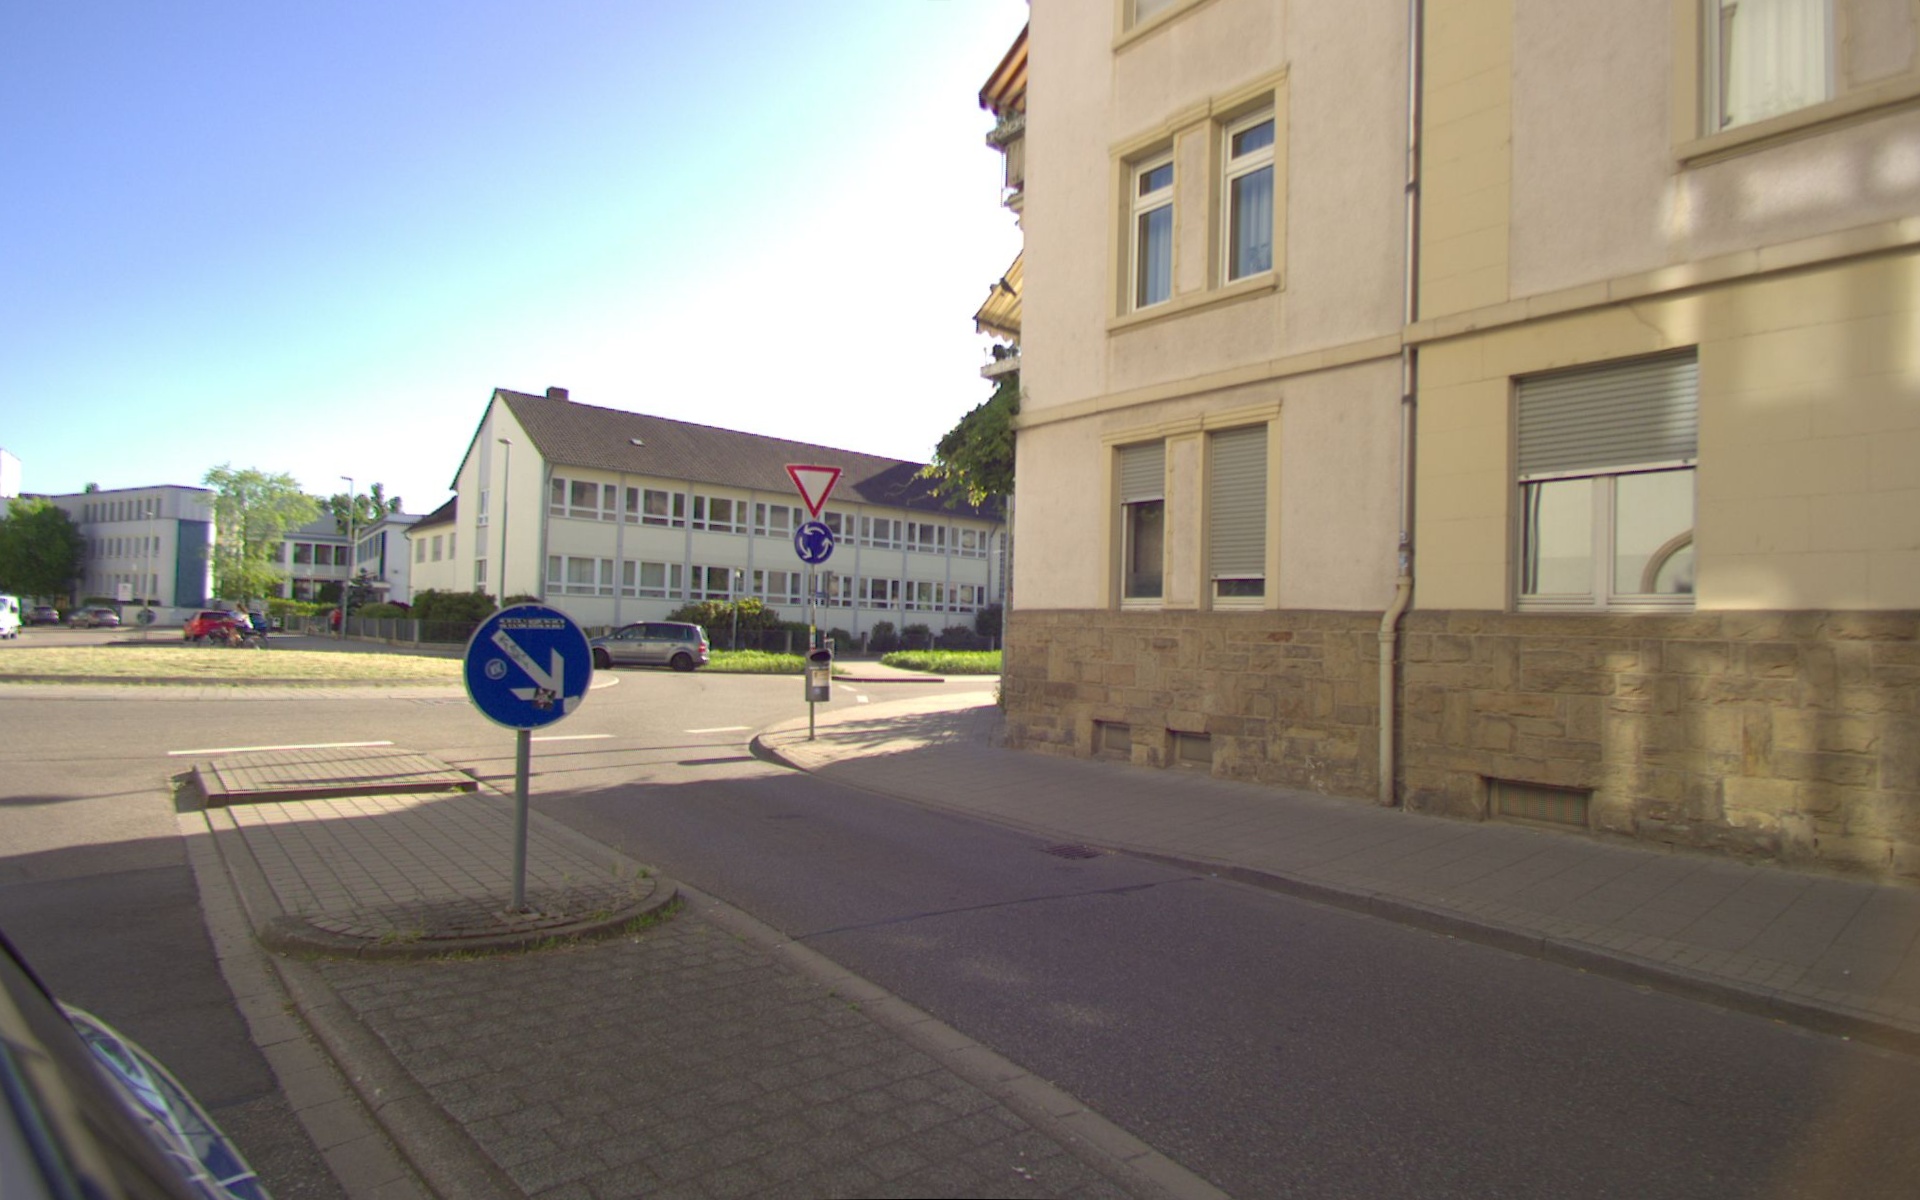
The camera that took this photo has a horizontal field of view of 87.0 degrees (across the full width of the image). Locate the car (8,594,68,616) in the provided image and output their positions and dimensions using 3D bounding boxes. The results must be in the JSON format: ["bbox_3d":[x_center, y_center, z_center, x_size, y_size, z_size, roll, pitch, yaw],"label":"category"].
[{"bbox_3d":[-72.280,0.369,79.308,4.815,1.625,2.118,0,1,29],"label":"car"}]

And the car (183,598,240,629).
[{"bbox_3d":[-35.383,0.649,47.802,1.691,1.393,4.004,4,-3,-42],"label":"car"}]

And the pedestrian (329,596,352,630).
[{"bbox_3d":[-31.179,0.654,50.932,0.807,1.718,0.998,1,0,-43],"label":"pedestrian"}]

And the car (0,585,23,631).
[{"bbox_3d":[-44.462,0.313,46.196,1.968,2.029,4.806,6,-4,-38],"label":"car"}]

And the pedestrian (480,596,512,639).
[{"bbox_3d":[-18.554,0.705,40.475,0.981,1.718,0.693,0,0,-7],"label":"pedestrian"}]

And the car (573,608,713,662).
[{"bbox_3d":[-10.398,1.154,33.506,4.204,1.709,1.884,0,-1,-9],"label":"car"}]

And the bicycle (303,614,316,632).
[{"bbox_3d":[-38.316,1.333,59.621,1.264,1.023,0.341,0,-2,45],"label":"bicycle"}]

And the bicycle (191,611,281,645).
[{"bbox_3d":[-22.622,0.863,31.680,2.172,1.022,0.814,0,0,-26],"label":"bicycle"}]

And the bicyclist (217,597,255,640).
[{"bbox_3d":[-22.641,0.567,31.668,0.811,1.322,0.814,1,0,-25],"label":"bicyclist"}]

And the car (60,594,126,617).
[{"bbox_3d":[-63.774,0.392,74.447,4.813,1.625,2.119,0,1,28],"label":"car"}]

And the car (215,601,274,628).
[{"bbox_3d":[-40.065,0.776,56.637,4.415,1.445,1.859,0,0,44],"label":"car"}]
